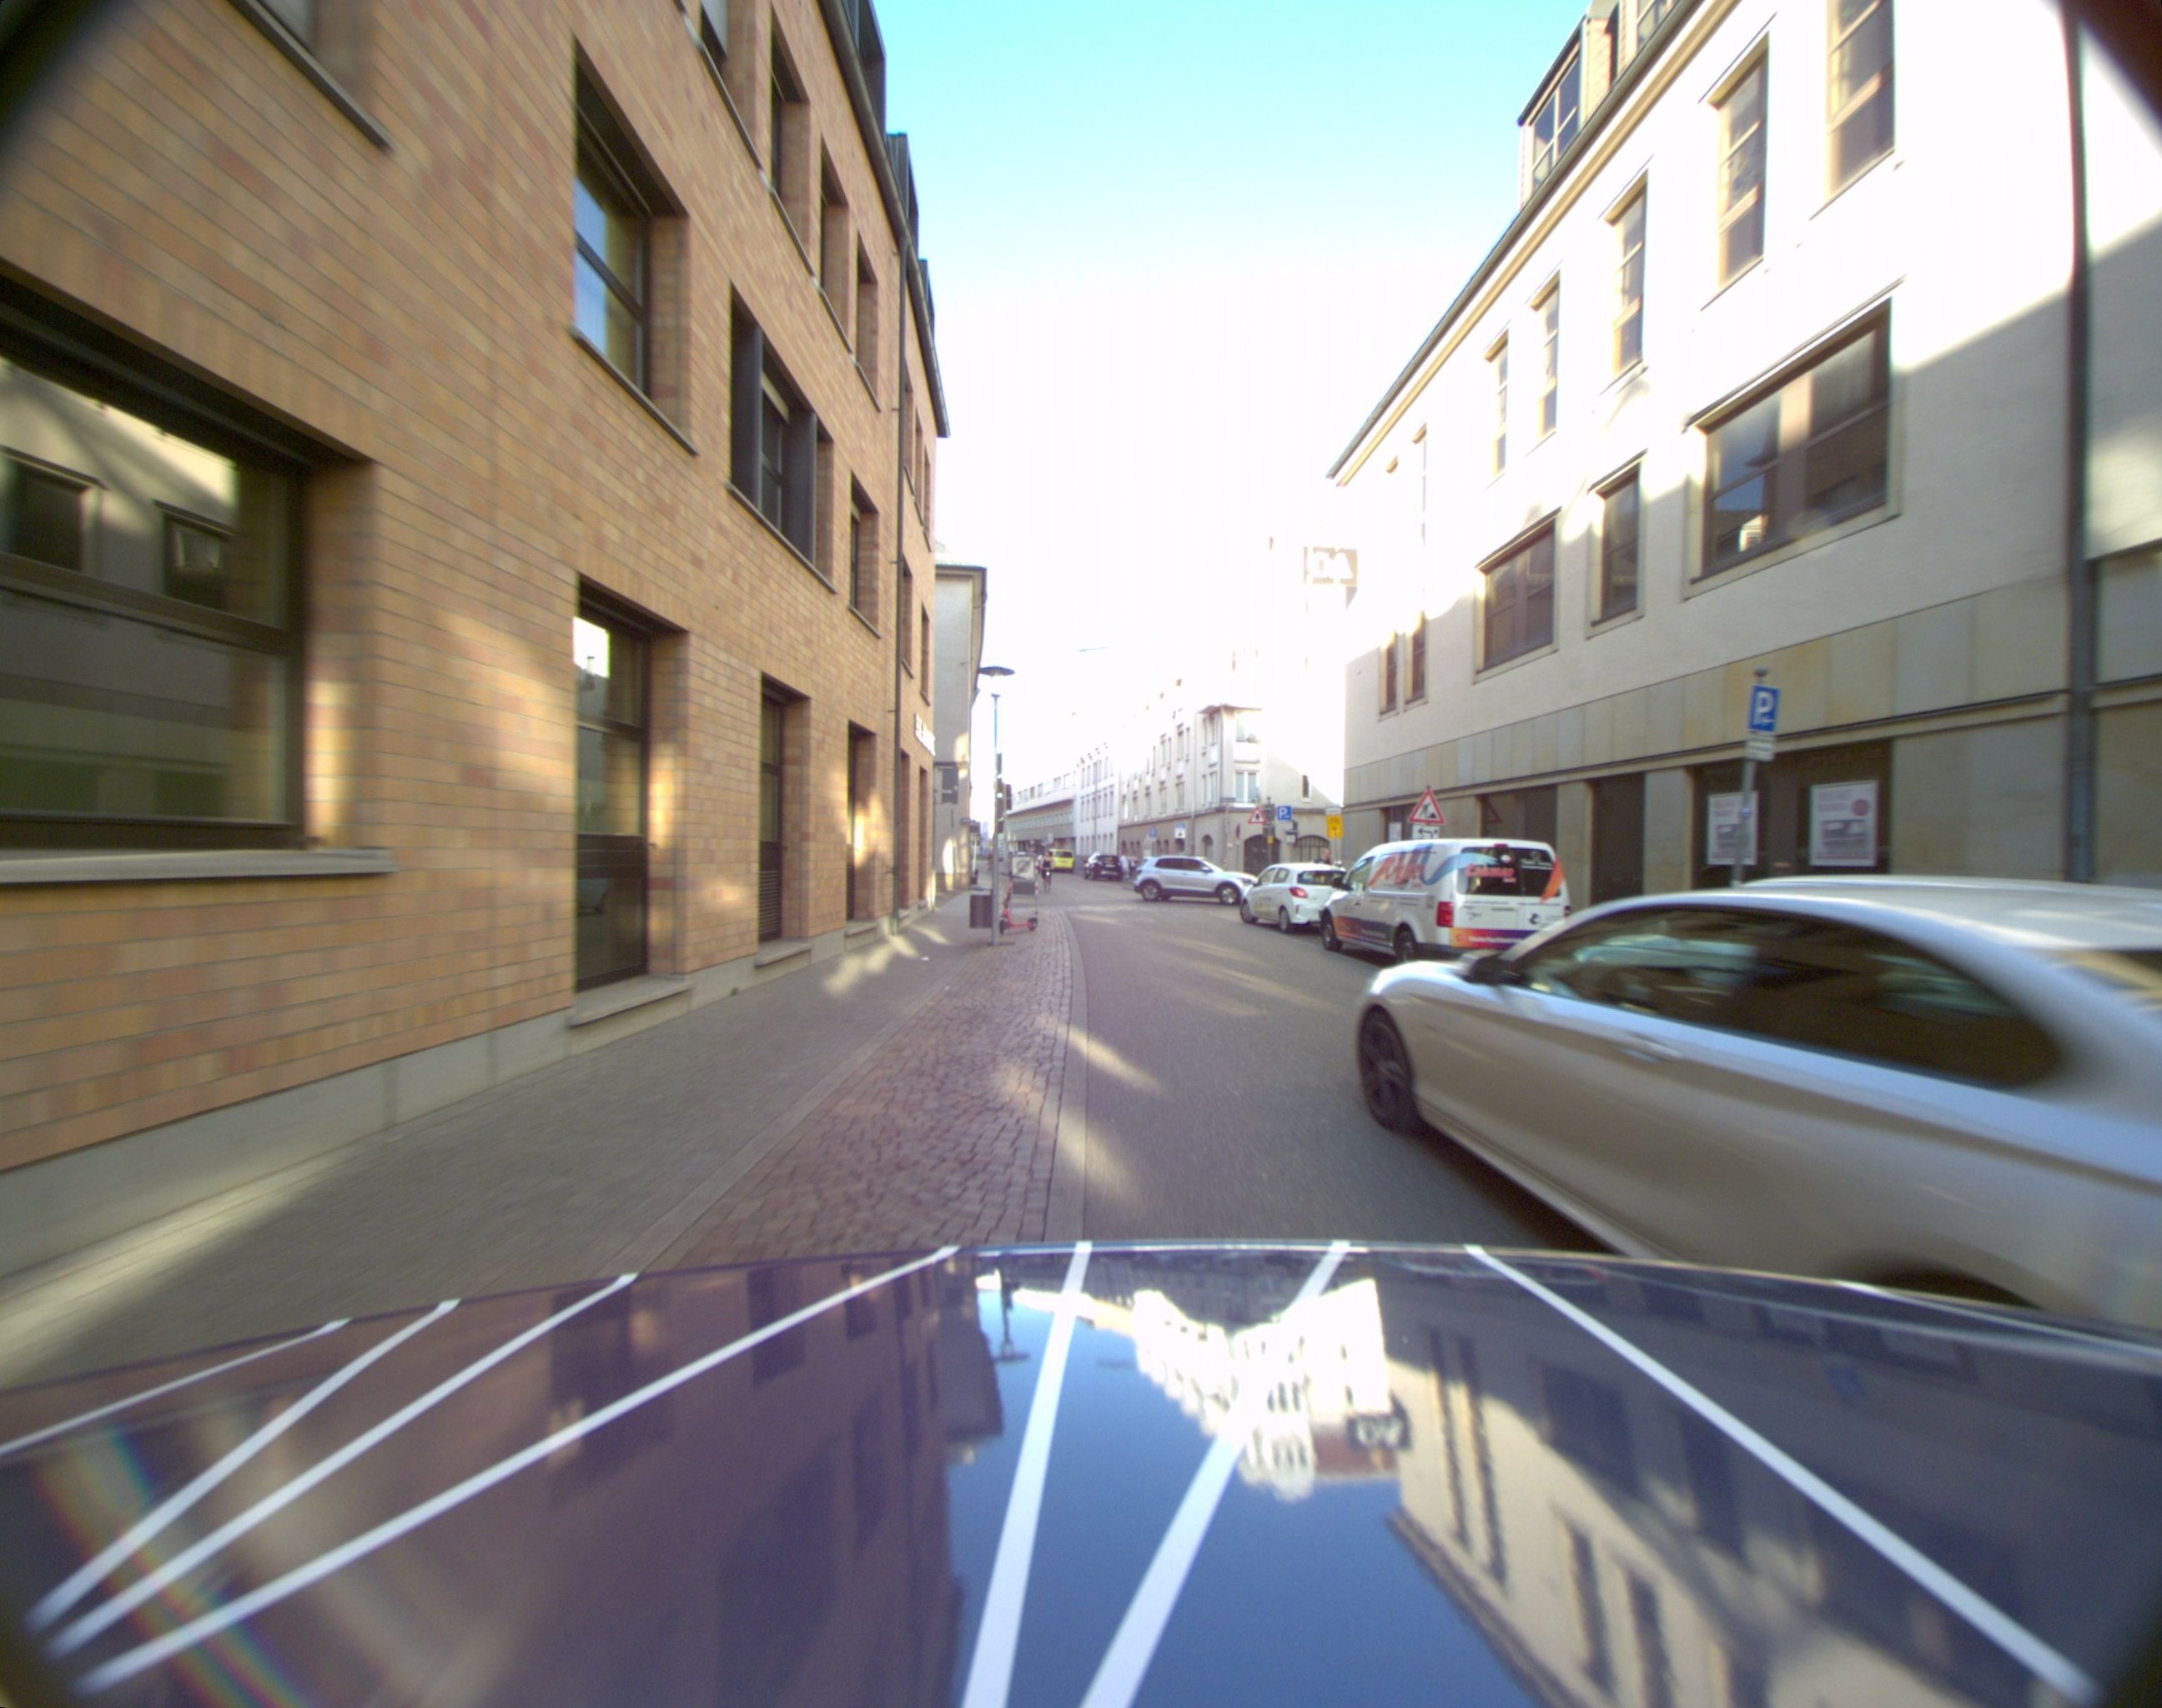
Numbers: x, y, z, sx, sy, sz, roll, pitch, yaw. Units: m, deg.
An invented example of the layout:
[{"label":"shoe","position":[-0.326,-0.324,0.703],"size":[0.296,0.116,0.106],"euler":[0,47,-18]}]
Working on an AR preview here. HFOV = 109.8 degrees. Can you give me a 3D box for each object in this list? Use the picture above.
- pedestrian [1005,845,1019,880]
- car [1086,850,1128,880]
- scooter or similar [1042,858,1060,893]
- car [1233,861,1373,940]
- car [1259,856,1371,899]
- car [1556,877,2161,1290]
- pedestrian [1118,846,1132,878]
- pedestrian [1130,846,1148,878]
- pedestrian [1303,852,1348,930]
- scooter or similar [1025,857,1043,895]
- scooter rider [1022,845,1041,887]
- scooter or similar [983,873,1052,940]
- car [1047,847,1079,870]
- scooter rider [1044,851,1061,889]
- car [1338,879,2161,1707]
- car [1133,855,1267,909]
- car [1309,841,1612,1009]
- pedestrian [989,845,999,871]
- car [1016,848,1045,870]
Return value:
[{"label":"pedestrian","position":[-4.051,0.499,44.413],"size":[0.716,2.002,0.698],"euler":[1,1,-10]},{"label":"car","position":[1.560,0.639,46.955],"size":[1.889,1.694,3.997],"euler":[2,0,-8]},{"label":"scooter or similar","position":[-1.242,0.869,31.408],"size":[0.550,1.388,1.554],"euler":[1,1,-9]},{"label":"car","position":[4.842,0.950,17.139],"size":[1.742,1.483,3.797],"euler":[2,0,-5]},{"label":"car","position":[9.426,0.939,30.857],"size":[3.967,1.584,1.742],"euler":[1,1,-2]},{"label":"car","position":[5.134,1.010,4.874],"size":[1.674,1.513,3.775],"euler":[3,0,-1]},{"label":"pedestrian","position":[2.713,0.499,47.120],"size":[0.716,2.002,0.698],"euler":[1,1,-10]},{"label":"pedestrian","position":[3.632,0.487,47.593],"size":[0.938,2.002,0.698],"euler":[1,1,-10]},{"label":"pedestrian","position":[6.068,0.901,18.891],"size":[0.716,1.844,0.861],"euler":[2,2,-3]},{"label":"scooter or similar","position":[-1.839,0.842,29.491],"size":[0.524,1.388,1.554],"euler":[1,1,-9]},{"label":"scooter rider","position":[-1.919,0.454,29.475],"size":[0.648,1.585,0.599],"euler":[-2,2,-10]},{"label":"scooter or similar","position":[-1.257,1.019,15.178],"size":[0.537,1.228,1.422],"euler":[0,0,39]},{"label":"car","position":[-1.560,0.343,63.254],"size":[1.890,1.863,3.995],"euler":[-1,1,-13]},{"label":"scooter rider","position":[-1.180,0.651,31.332],"size":[0.592,1.500,0.599],"euler":[-2,2,-10]},{"label":"car","position":[2.499,0.929,2.463],"size":[1.719,1.509,4.158],"euler":[1,0,-3]},{"label":"car","position":[3.923,0.856,25.153],"size":[3.989,1.537,1.767],"euler":[2,1,25]},{"label":"car","position":[5.042,0.806,11.032],"size":[1.904,1.847,4.733],"euler":[2,0,-1]},{"label":"pedestrian","position":[-6.922,0.304,60.406],"size":[0.716,2.002,0.698],"euler":[1,1,-10]},{"label":"car","position":[-3.983,0.425,59.195],"size":[1.857,1.583,3.803],"euler":[1,-1,-10]}]
